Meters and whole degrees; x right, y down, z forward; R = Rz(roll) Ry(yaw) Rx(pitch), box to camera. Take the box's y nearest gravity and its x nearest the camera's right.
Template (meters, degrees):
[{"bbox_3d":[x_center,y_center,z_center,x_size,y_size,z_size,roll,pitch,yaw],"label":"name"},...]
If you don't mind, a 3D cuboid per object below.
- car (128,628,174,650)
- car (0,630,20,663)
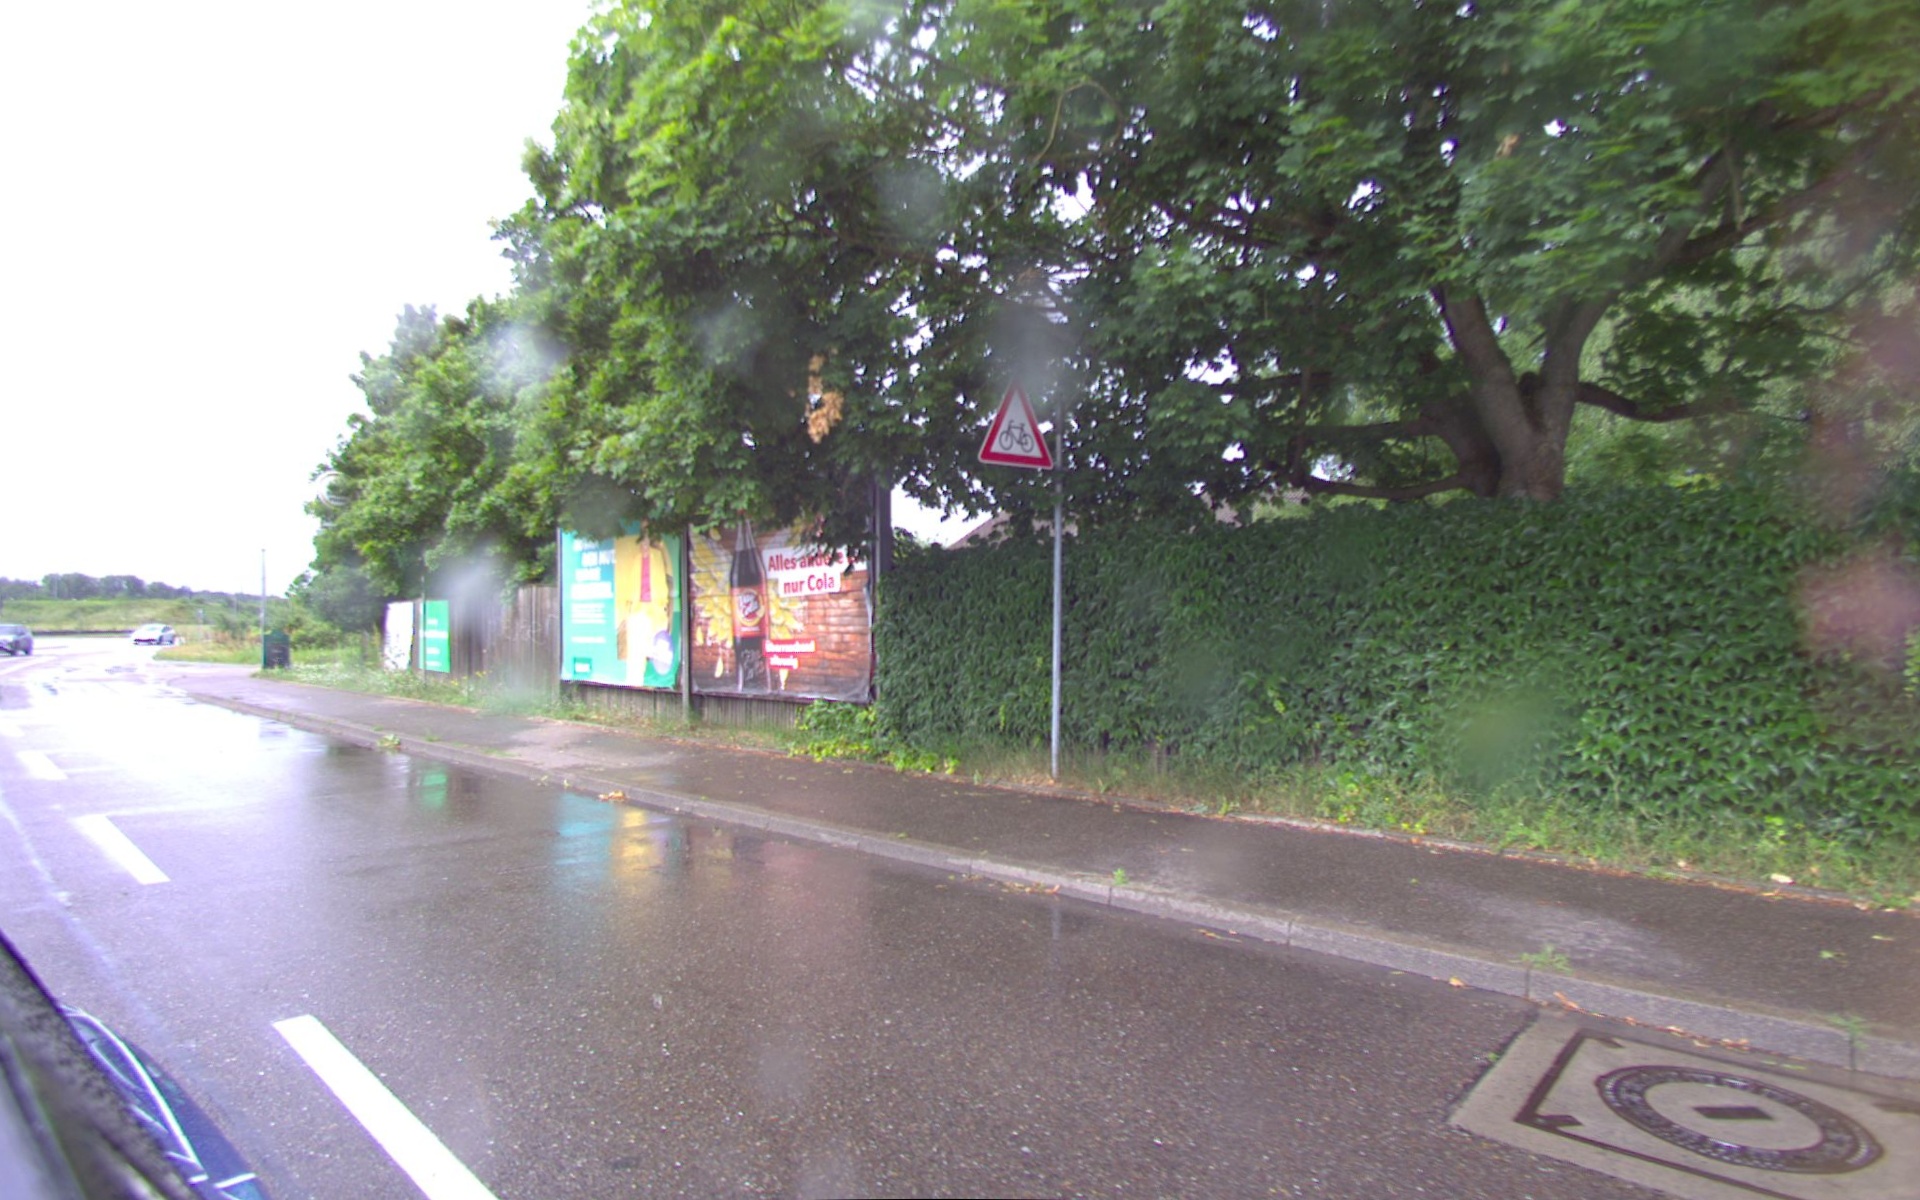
[{"bbox_3d":[-65.424,3.154,81.899,1.767,1.645,3.830,0,-1,-19],"label":"car"},{"bbox_3d":[-50.439,2.410,52.736,1.621,1.645,3.677,0,-1,-35],"label":"car"}]
